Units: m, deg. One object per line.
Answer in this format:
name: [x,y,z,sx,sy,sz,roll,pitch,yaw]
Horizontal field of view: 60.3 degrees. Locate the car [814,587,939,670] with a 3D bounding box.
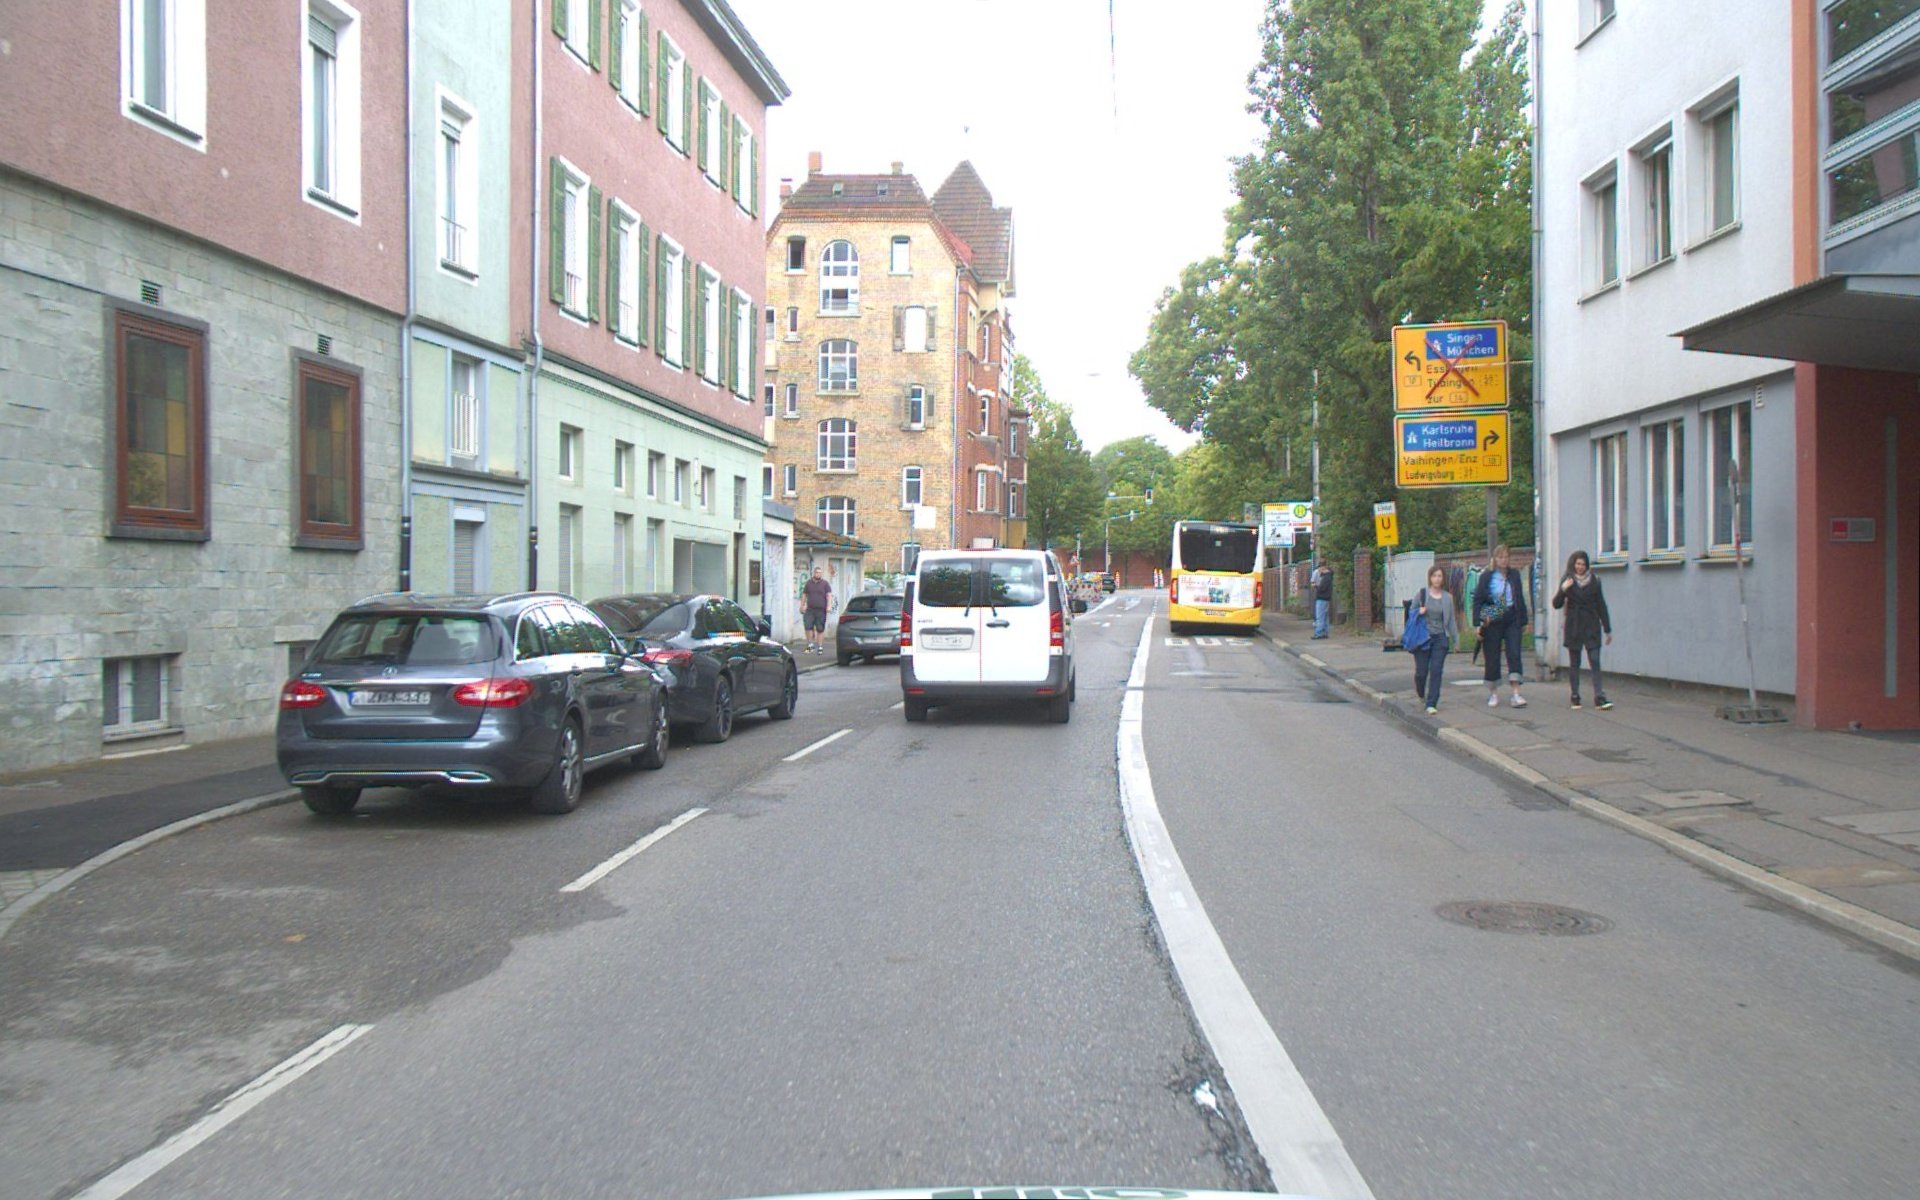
car: [-1.639,0.524,33.831,1.838,1.512,4.130,2,1,7]

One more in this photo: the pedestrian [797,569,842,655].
pedestrian: [-2.963,0.253,34.950,0.745,1.774,0.985,2,-1,5]

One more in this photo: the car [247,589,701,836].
car: [-3.283,0.685,12.220,1.790,1.480,4.586,0,0,3]

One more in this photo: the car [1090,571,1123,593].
car: [11.074,-1.359,125.164,1.995,1.511,4.390,0,2,-1]

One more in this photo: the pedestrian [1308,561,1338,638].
pedestrian: [8.731,-0.016,39.803,0.569,1.810,0.822,2,0,7]

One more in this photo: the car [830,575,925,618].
car: [-3.324,-0.141,66.784,3.519,1.640,1.690,-2,0,8]

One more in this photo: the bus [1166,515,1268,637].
bus: [7.551,-0.713,49.398,2.606,3.190,10.048,2,1,7]

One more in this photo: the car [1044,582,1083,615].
car: [5.475,-0.104,87.265,1.688,1.511,4.395,0,2,8]

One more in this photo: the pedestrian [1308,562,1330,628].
pedestrian: [10.036,-0.144,46.258,0.441,1.810,0.672,-3,0,7]

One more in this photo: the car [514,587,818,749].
car: [-2.937,0.636,17.731,1.790,1.480,4.925,0,0,8]

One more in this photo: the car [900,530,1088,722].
car: [0.531,0.324,19.684,1.877,1.935,4.703,2,-1,5]

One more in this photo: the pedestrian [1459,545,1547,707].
pedestrian: [6.226,0.280,19.008,0.672,1.787,0.878,-2,1,1]

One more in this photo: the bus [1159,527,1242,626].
bus: [8.500,-0.830,59.034,2.615,3.193,9.225,2,1,7]

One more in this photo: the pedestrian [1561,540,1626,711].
pedestrian: [6.789,0.263,17.744,0.531,1.787,0.609,-2,1,14]

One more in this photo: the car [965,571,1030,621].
car: [1.427,-0.169,60.887,1.912,1.764,4.778,0,1,7]

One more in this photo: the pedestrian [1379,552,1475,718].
pedestrian: [5.341,0.381,18.969,0.786,1.825,0.943,-2,1,1]
